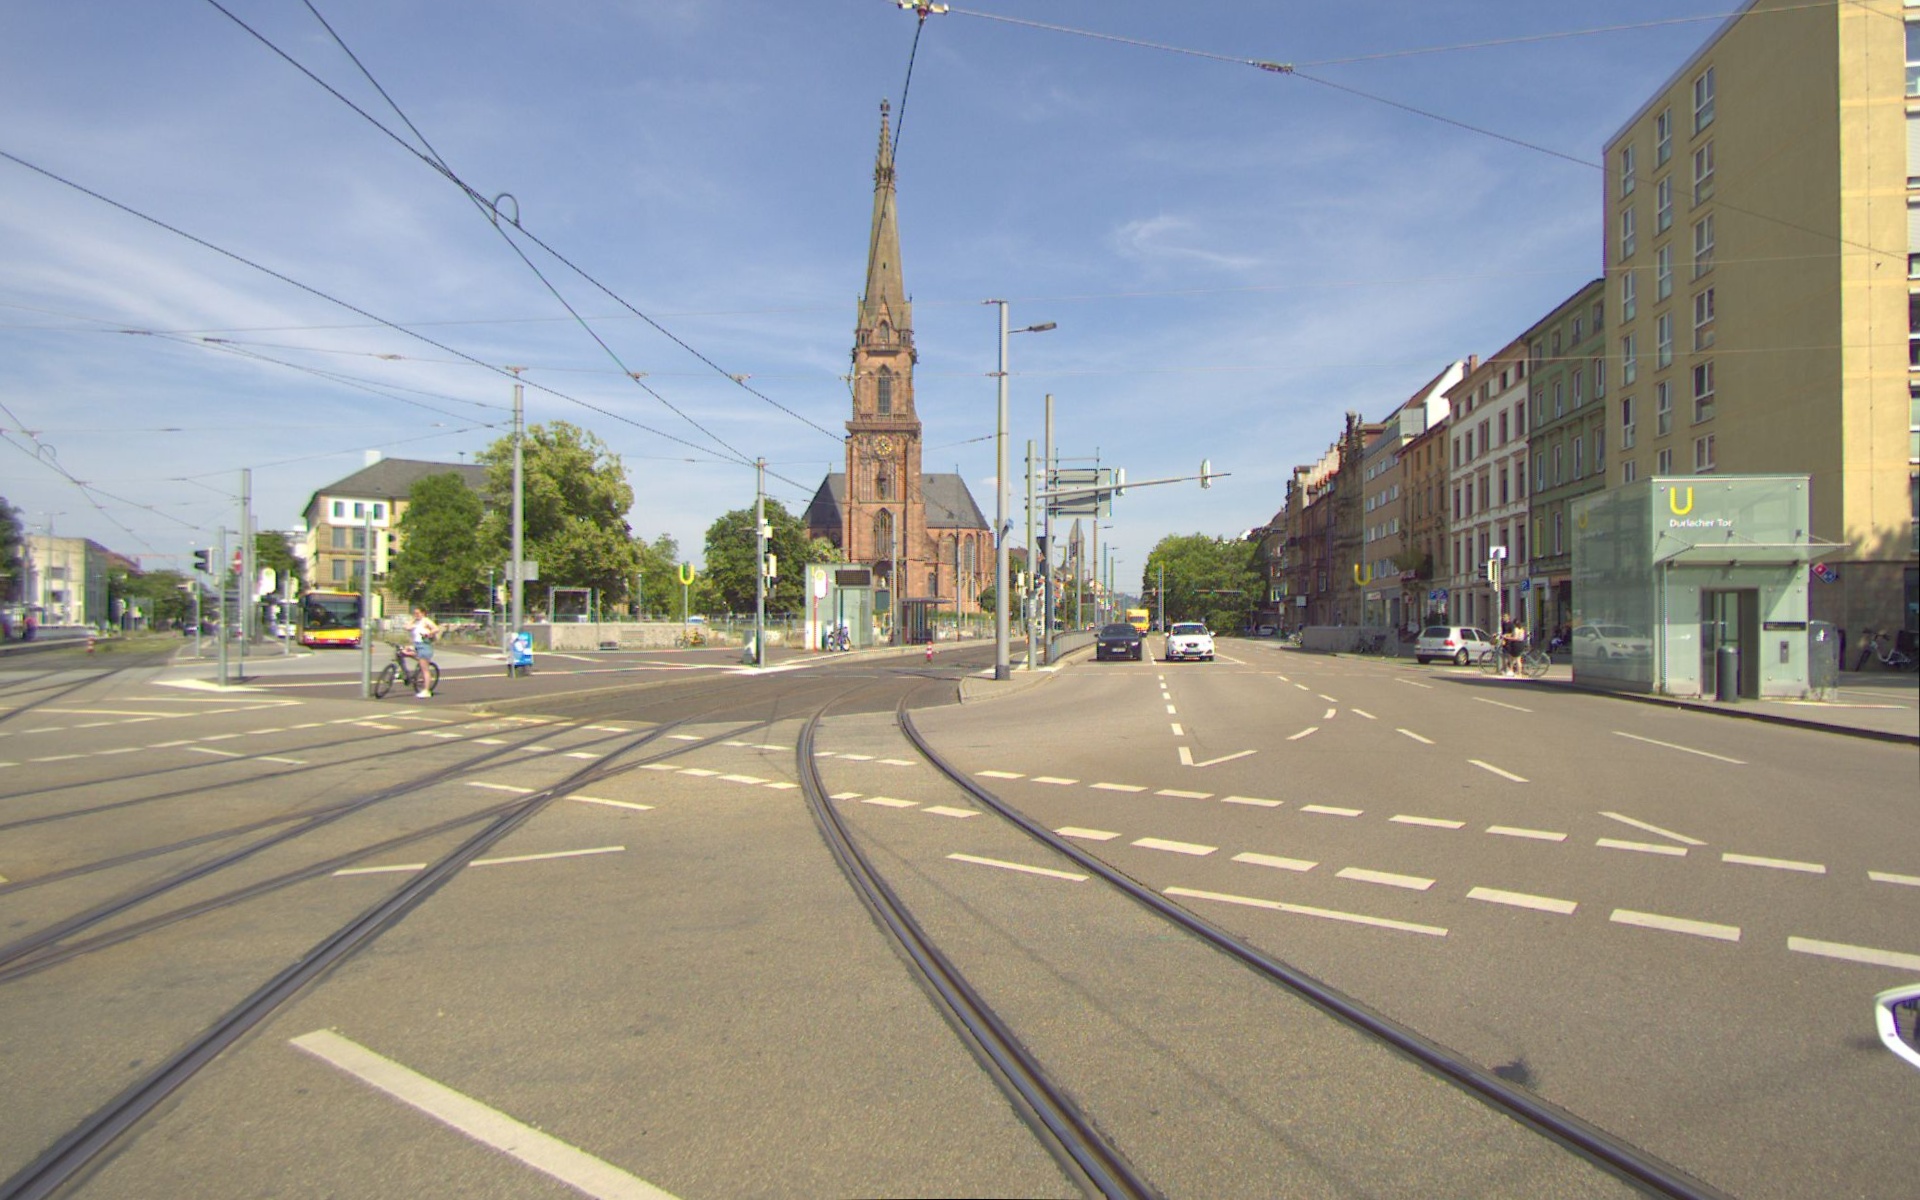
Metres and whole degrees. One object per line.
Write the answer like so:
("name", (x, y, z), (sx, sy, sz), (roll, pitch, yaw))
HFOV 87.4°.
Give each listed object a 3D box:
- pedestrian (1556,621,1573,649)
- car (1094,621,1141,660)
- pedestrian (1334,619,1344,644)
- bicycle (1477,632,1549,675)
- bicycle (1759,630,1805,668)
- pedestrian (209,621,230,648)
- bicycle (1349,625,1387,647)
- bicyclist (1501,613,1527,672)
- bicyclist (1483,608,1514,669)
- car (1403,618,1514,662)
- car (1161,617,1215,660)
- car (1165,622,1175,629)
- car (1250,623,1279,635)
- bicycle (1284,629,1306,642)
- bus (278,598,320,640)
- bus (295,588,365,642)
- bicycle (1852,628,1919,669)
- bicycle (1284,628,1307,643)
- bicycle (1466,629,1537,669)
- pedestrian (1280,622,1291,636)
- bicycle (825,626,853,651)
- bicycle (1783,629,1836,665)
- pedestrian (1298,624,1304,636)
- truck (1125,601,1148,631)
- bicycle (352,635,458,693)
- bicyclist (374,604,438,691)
("pedestrian", (29.938, 1.739, 49.718), (0.516, 1.392, 0.647), (0, -1, 10))
("car", (6.403, 1.598, 40.533), (1.724, 1.475, 4.426), (-1, -1, 10))
("pedestrian", (25.314, 2.098, 67.149), (0.543, 1.687, 0.526), (0, -1, 10))
("bicycle", (15.448, 1.484, 28.101), (1.764, 1.145, 0.753), (0, -2, 28))
("bicycle", (25.793, 1.528, 31.555), (0.573, 1.100, 1.756), (-4, -3, 22))
("pedestrian", (-40.233, 1.867, 54.572), (0.895, 1.385, 0.538), (0, 1, 27))
("bicycle", (20.781, 1.818, 51.186), (1.712, 1.109, 0.598), (0, 0, 10))
("bicyclist", (15.464, 1.178, 28.048), (0.602, 1.593, 0.732), (0, -1, 28))
("bicyclist", (15.778, 1.135, 29.444), (0.605, 1.758, 0.584), (1, -1, 4))
("car", (18.637, 1.495, 37.546), (3.952, 1.459, 1.800), (3, -1, -29))
("car", (8.553, 1.407, 37.969), (1.724, 1.416, 4.127), (-4, -2, 10))
("car", (43.800, 5.311, 209.348), (1.867, 1.394, 3.818), (0, -1, 8))
("car", (44.794, 4.284, 147.954), (3.919, 1.773, 2.001), (0, 1, 12))
("bicycle", (23.679, 2.513, 71.085), (1.436, 0.959, 0.416), (0, -2, 10))
("bus", (-56.368, 1.613, 85.537), (2.731, 3.367, 11.674), (1, -1, -35))
("bus", (-35.499, 0.684, 56.372), (2.731, 2.719, 11.672), (-1, 1, -35))
("bicycle", (27.774, 1.443, 29.857), (1.851, 1.201, 0.542), (-1, -1, 12))
("bicycle", (23.595, 2.491, 70.646), (1.436, 0.989, 0.416), (0, 1, 10))
("bicycle", (15.911, 1.446, 29.554), (1.761, 1.145, 0.584), (1, -1, 4))
("pedestrian", (31.556, 2.851, 97.339), (0.931, 1.342, 0.823), (0, -1, 8))
("bicycle", (-5.525, 1.762, 45.945), (0.406, 1.085, 1.661), (-1, 0, 28))
("bicycle", (26.316, 1.440, 31.142), (0.572, 1.056, 1.757), (-1, -2, 17))
("pedestrian", (39.258, 3.451, 115.602), (0.523, 1.426, 0.491), (0, 1, 4))
("truck", (21.326, 1.992, 121.770), (2.500, 3.341, 9.035), (-3, -2, 9))
("bicycle", (-11.066, 1.262, 20.109), (0.736, 1.098, 1.850), (0, -3, 17))
("bicyclist", (-11.078, 0.946, 20.104), (0.736, 1.706, 0.777), (0, -2, 17))
